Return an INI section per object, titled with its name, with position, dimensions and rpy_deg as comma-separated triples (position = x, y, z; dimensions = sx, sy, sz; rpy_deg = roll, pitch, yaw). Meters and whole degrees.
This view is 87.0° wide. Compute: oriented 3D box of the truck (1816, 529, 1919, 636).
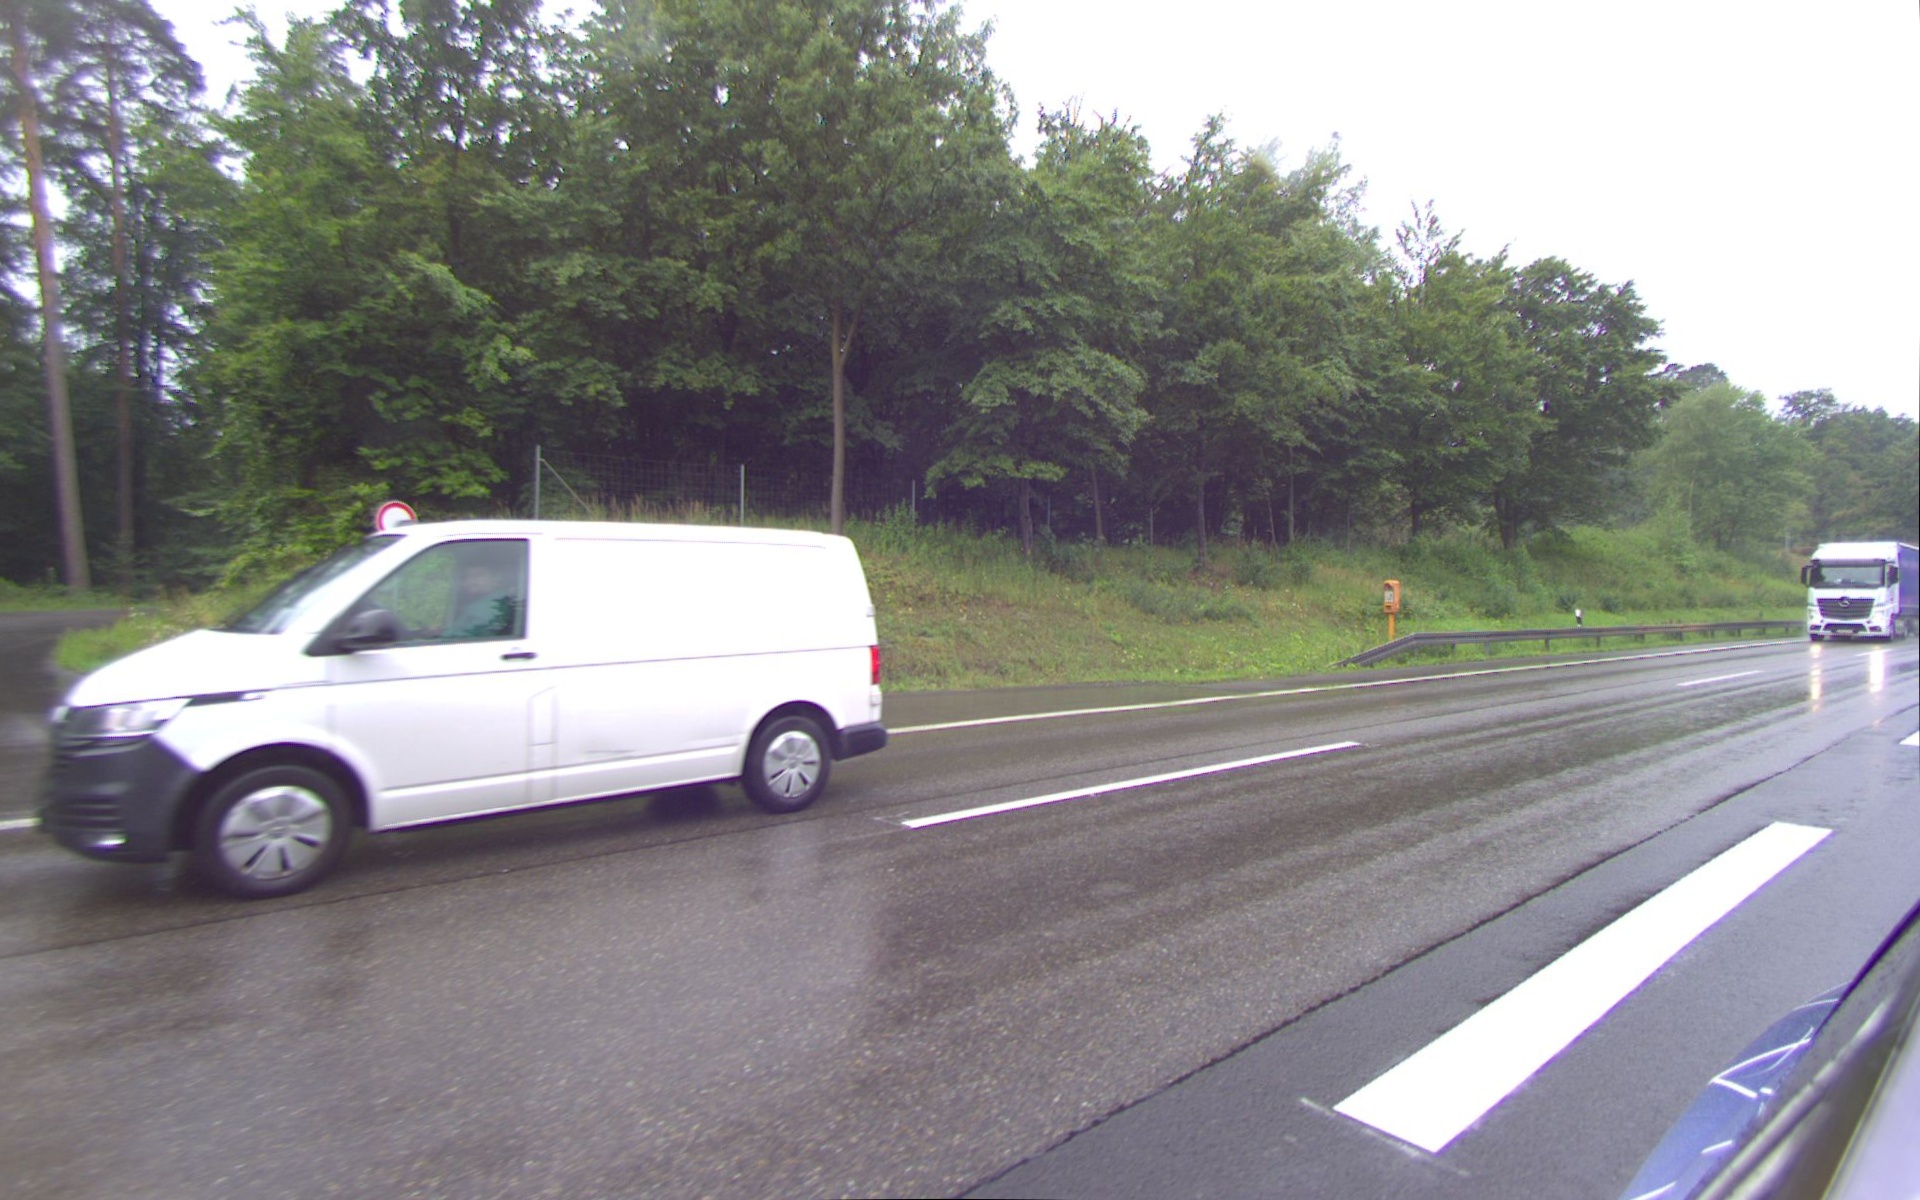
[truck]
position = 37.365, -0.677, 41.298
dimensions = 5.904, 4.065, 2.607
rpy_deg = 0, -1, -39

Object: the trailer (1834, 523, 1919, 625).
[trailer]
position = 42.564, -1.068, 45.609
dimensions = 13.468, 4.064, 2.559
rpy_deg = 0, 0, -39

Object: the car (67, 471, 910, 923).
[car]
position = -2.763, 0.419, 6.690
dimensions = 4.685, 1.945, 1.992
rpy_deg = 0, 0, -42
